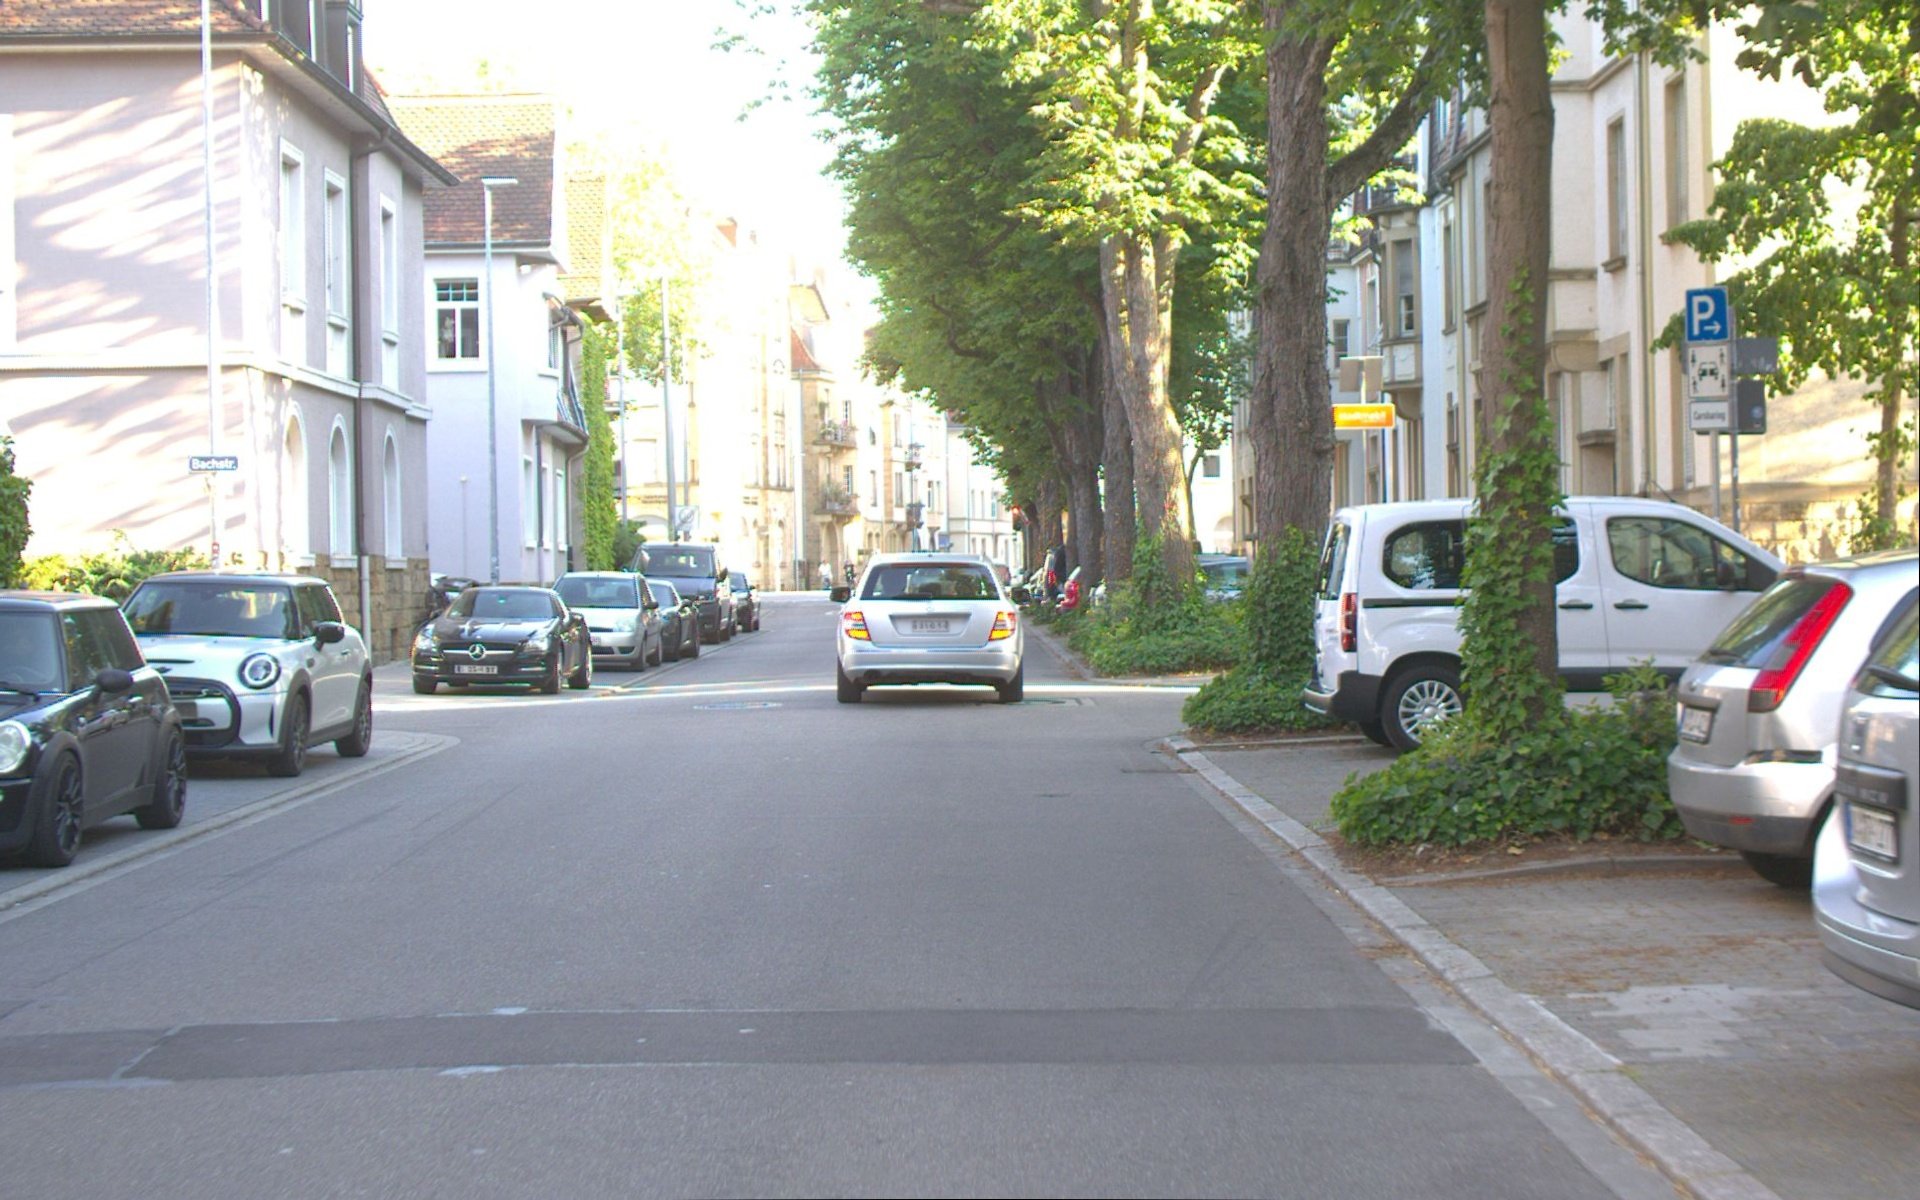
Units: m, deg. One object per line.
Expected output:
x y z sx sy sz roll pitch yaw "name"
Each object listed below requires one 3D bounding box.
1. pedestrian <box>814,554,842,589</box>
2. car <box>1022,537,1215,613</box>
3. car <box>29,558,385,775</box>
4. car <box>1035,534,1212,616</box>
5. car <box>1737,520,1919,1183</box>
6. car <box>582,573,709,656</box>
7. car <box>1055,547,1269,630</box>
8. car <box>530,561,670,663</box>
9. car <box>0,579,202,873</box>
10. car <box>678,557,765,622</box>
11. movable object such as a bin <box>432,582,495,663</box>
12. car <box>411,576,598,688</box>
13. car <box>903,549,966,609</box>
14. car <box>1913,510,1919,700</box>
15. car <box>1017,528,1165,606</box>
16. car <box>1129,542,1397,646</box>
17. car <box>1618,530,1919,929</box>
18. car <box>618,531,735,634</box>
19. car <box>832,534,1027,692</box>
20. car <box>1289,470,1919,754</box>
-6.490 -1.425 169.235 1.221 1.716 1.503 0 0 3 "pedestrian"
4.265 -0.687 93.241 5.053 1.982 2.072 -1 1 -2 "car"
-5.477 0.430 25.462 1.704 1.455 3.917 1 1 1 "car"
4.057 -0.627 85.980 4.219 1.890 1.906 -2 0 -2 "car"
4.251 0.492 8.736 4.144 1.529 1.687 -2 1 2 "car"
-5.152 0.223 56.731 1.531 1.314 4.226 0 0 2 "car"
4.060 -0.231 69.387 4.190 1.470 1.851 -3 0 3 "car"
-5.367 0.150 51.638 1.653 1.440 3.960 1 1 1 "car"
-5.321 0.595 18.415 1.686 1.375 3.721 1 1 0 "car"
-5.460 -0.258 79.134 1.695 1.442 4.358 1 1 0 "car"
-8.220 0.363 56.956 0.721 1.279 2.096 -1 1 0 "movable object such as a bin"
-5.641 0.373 42.985 1.653 1.319 4.045 1 0 2 "car"
-0.679 -0.587 92.929 1.623 1.564 3.680 0 1 1 "car"
5.634 0.366 11.523 4.314 1.529 1.828 -2 1 0 "car"
4.019 -1.027 106.082 4.388 2.356 2.000 -1 1 -2 "car"
4.597 -0.098 52.401 3.792 1.433 1.749 -2 1 -4 "car"
4.702 0.420 13.767 3.747 1.458 1.734 -2 1 0 "car"
-5.593 -0.370 68.262 1.982 1.941 4.852 0 1 -1 "car"
-0.267 0.116 33.424 1.784 1.432 3.851 0 0 0 "car"
4.665 0.064 24.842 4.314 1.801 2.000 -2 1 0 "car"
